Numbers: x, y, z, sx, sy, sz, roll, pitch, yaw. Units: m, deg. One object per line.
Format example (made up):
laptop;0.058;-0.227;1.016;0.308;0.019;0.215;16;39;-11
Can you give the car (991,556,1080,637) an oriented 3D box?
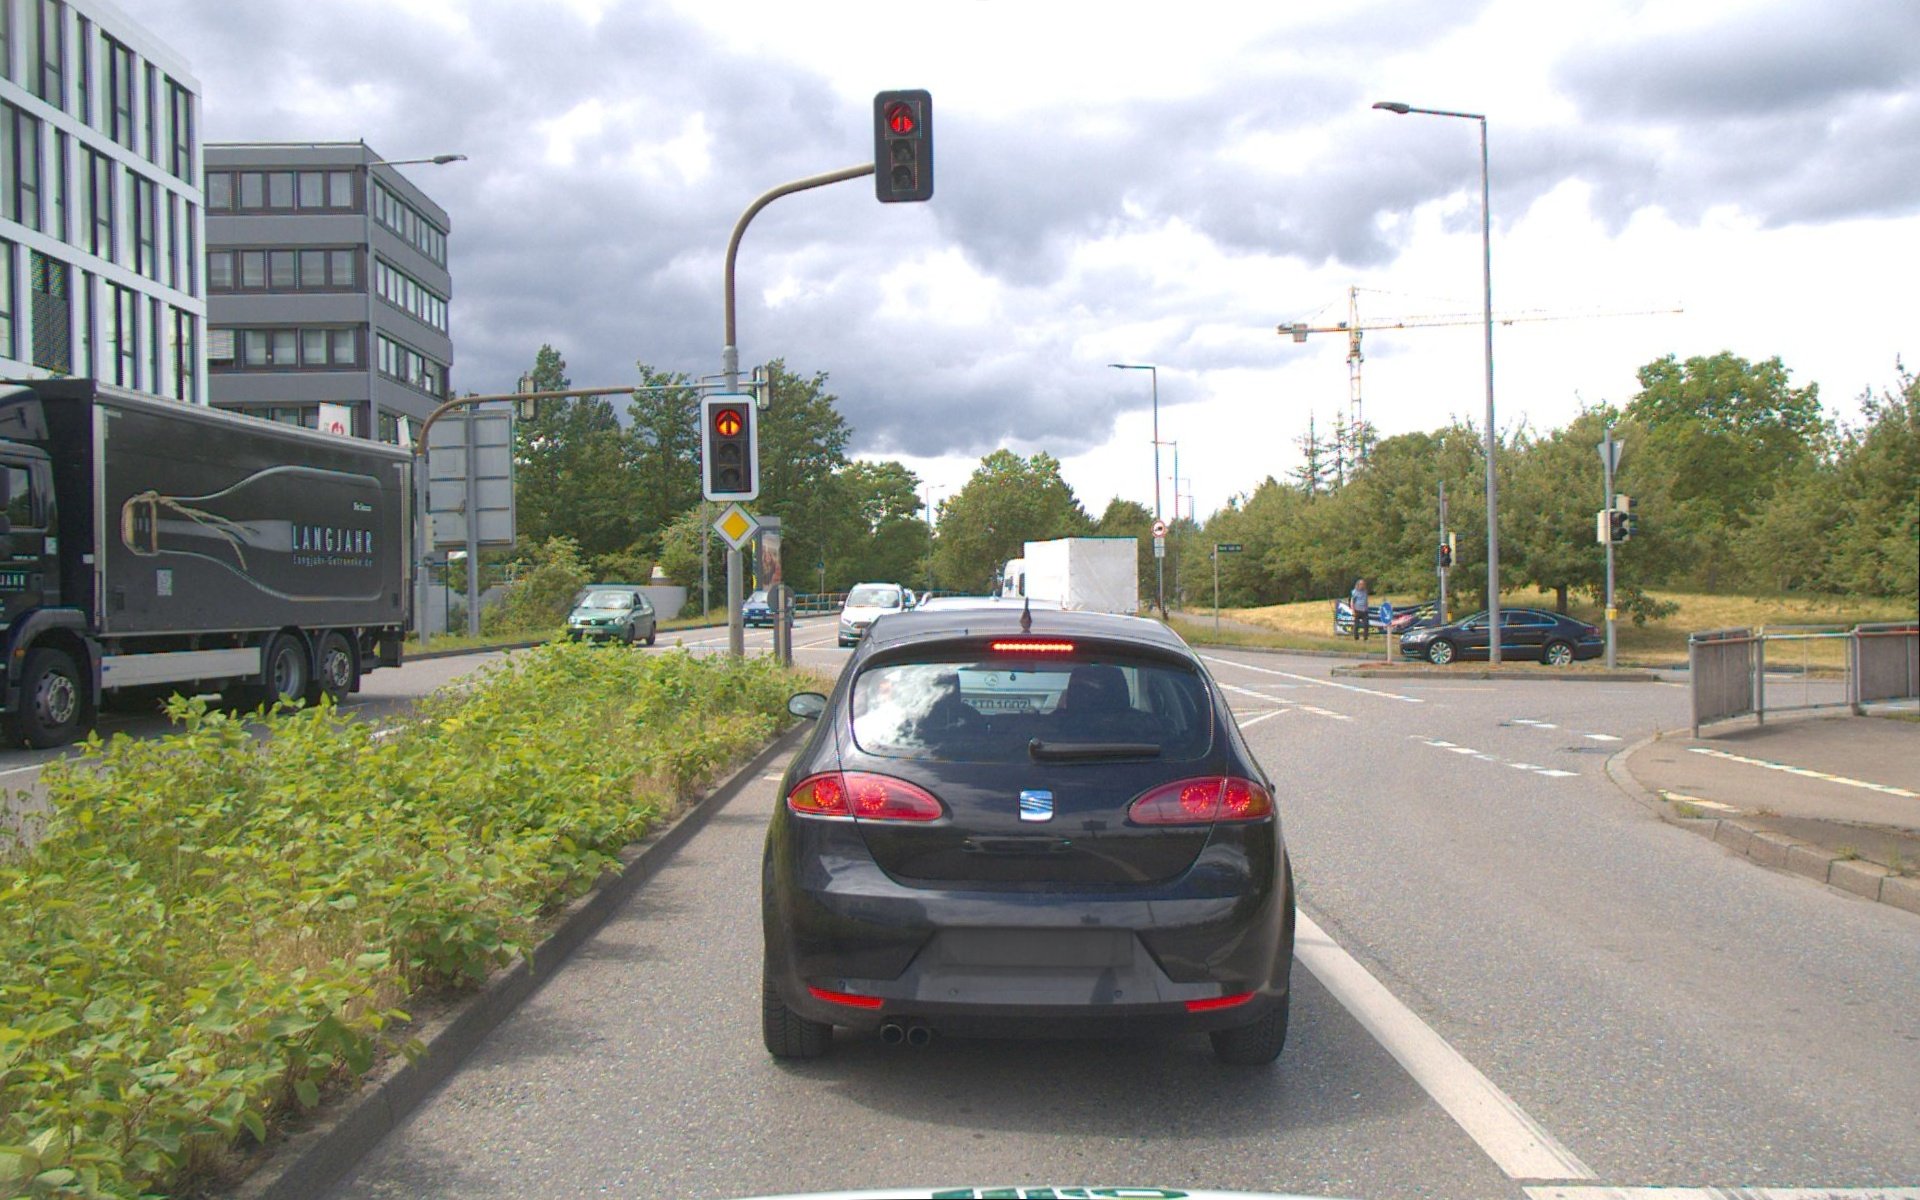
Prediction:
car;2.481;-0.105;55.945;2.086;2.562;5.826;1;0;-6

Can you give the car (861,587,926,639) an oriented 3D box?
car;-2.063;0.384;52.238;1.625;1.545;4.086;1;1;3

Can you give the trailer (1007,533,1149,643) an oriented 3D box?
trailer;3.494;-0.345;50.255;2.452;3.127;5.560;1;0;-17

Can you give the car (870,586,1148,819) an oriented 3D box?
car;0.338;0.679;12.713;1.797;1.493;3.751;1;0;0

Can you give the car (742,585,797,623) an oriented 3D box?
car;-7.519;0.148;65.596;1.521;1.444;3.897;1;1;3

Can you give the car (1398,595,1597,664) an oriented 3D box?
car;12.814;0.680;39.698;4.361;1.593;2.002;0;0;12

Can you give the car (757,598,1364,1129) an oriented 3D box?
car;0.264;0.735;6.334;1.676;1.442;3.459;1;0;-1

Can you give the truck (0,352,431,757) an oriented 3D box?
truck;-9.616;-0.462;19.059;3.100;3.579;9.533;1;1;6

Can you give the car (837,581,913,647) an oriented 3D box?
car;-2.319;0.350;46.156;1.783;1.716;4.646;1;1;1

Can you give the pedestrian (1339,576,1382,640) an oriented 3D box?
pedestrian;11.591;0.235;47.907;0.709;1.824;1.034;1;-1;-27

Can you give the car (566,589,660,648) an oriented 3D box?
car;-9.027;0.444;43.281;1.572;1.457;3.753;0;0;1
